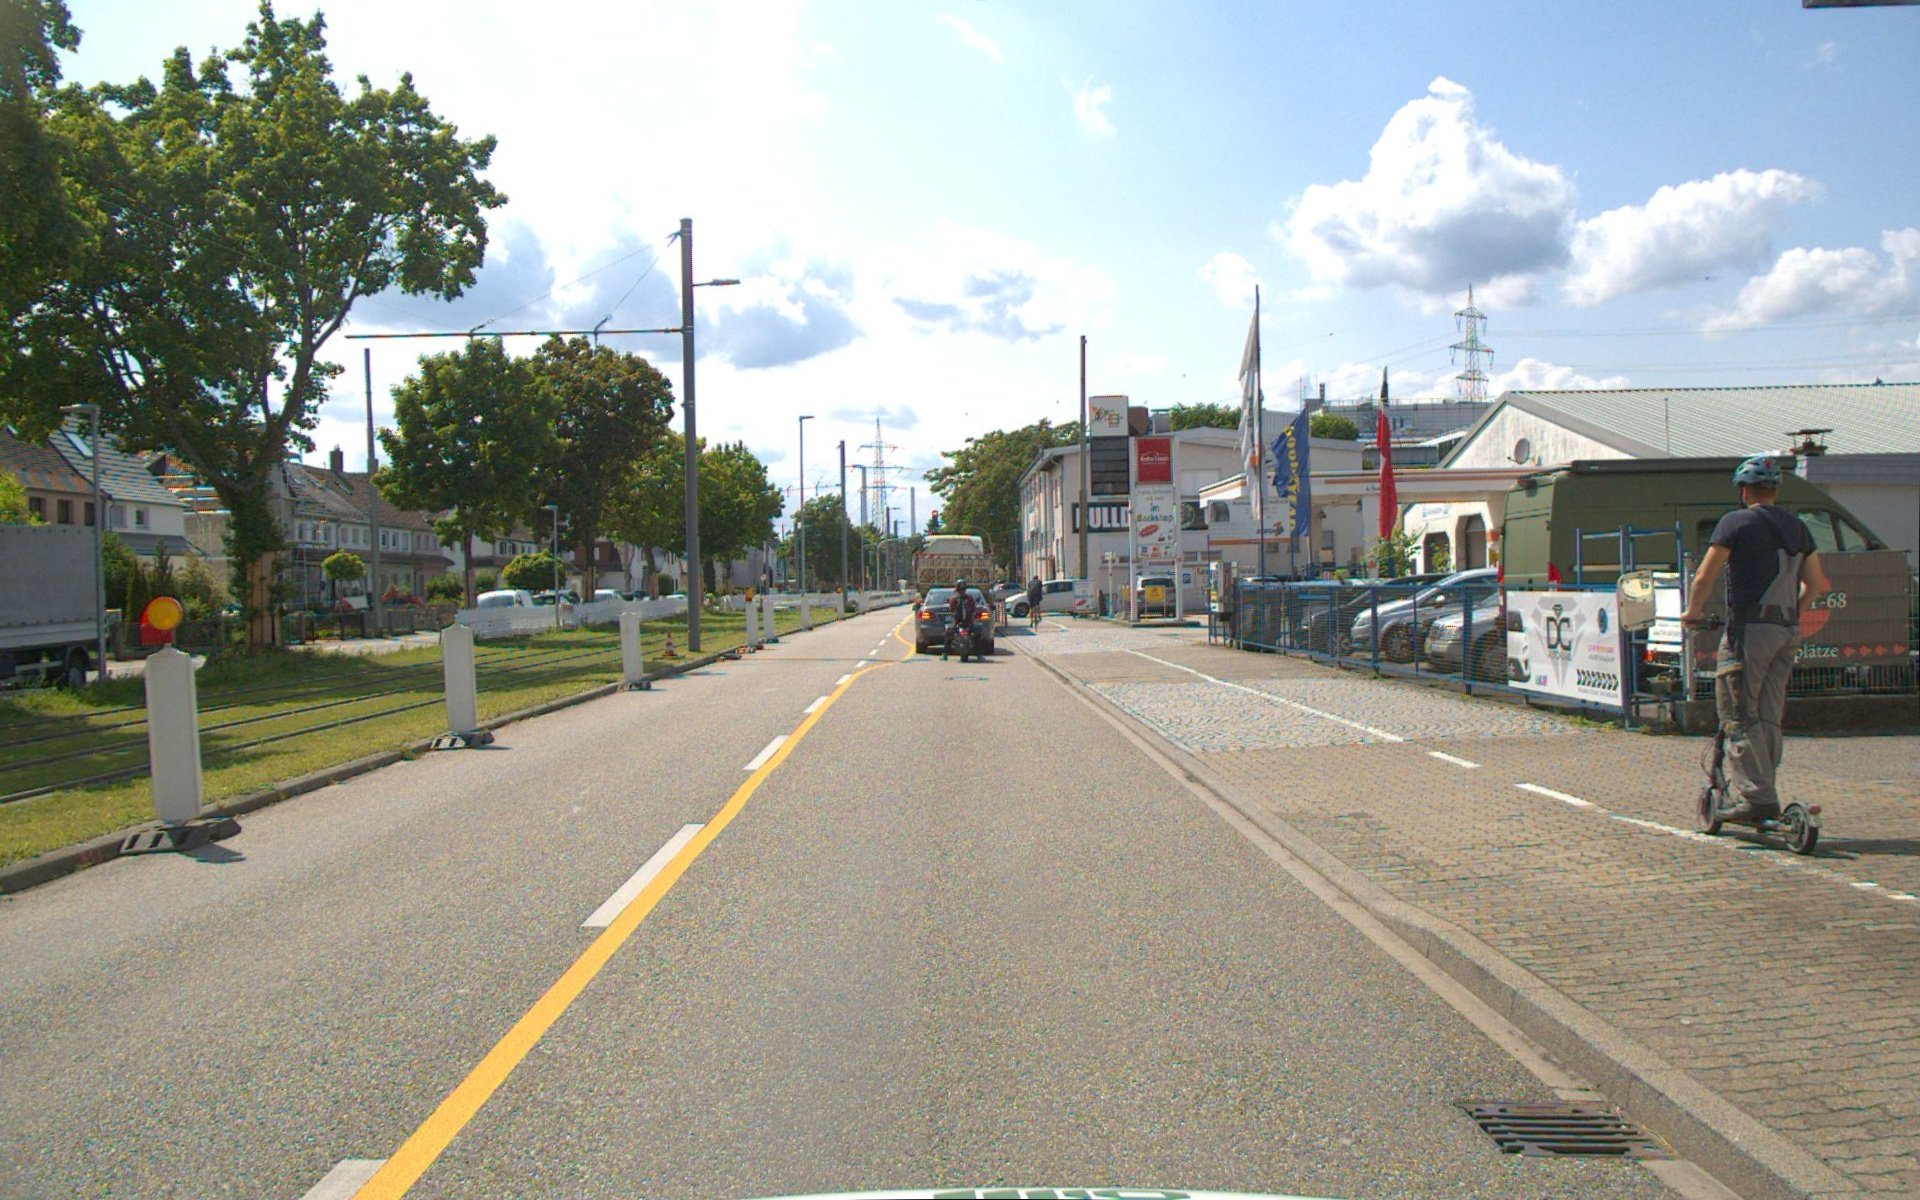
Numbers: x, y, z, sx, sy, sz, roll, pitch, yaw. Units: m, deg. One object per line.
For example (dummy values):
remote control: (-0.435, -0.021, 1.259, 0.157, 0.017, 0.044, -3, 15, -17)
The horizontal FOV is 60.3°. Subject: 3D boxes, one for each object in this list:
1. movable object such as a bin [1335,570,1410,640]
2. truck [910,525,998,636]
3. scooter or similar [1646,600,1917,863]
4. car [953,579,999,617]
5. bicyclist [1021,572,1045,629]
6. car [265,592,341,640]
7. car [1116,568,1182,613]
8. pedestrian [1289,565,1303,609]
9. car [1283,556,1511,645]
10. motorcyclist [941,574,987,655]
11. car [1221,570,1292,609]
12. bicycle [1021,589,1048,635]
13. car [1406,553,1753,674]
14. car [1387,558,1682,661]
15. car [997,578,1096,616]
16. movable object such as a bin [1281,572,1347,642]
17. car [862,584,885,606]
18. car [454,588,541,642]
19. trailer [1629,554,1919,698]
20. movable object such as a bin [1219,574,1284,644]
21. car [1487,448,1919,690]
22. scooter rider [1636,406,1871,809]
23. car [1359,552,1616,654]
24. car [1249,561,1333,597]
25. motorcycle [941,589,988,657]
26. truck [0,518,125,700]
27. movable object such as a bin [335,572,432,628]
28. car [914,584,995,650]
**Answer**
movable object such as a bin: (9.073, 0.107, 36.395, 1.295, 1.469, 0.953, -2, 0, -8)
truck: (-0.181, -0.730, 55.258, 2.557, 3.312, 9.183, -2, 2, 0)
scooter or similar: (4.226, 0.623, 8.642, 0.529, 1.215, 1.610, -3, 0, -1)
car: (0.639, -0.119, 68.132, 1.784, 1.489, 4.000, -1, 1, 0)
bicyclist: (2.300, 0.022, 52.260, 0.657, 1.774, 0.813, -1, 0, -1)
car: (-25.357, 0.611, 63.914, 1.650, 1.752, 3.030, -2, 0, -1)
car: (7.486, -0.357, 65.819, 1.920, 1.677, 3.998, -2, 0, -3)
pedestrian: (13.138, -0.502, 64.696, 0.388, 1.718, 0.485, -2, 0, 0)
car: (8.016, 0.008, 30.360, 3.903, 1.468, 1.712, -2, 0, 17)
motorcyclist: (0.082, 0.300, 34.274, 0.920, 1.643, 1.205, 0, 0, -1)
car: (11.899, -0.415, 66.595, 1.920, 1.445, 3.998, -2, 0, -3)
bicycle: (2.345, 0.369, 52.433, 0.679, 1.385, 2.418, -2, 1, -1)
car: (8.362, 0.182, 22.656, 4.095, 1.456, 1.822, -2, 0, 6)
car: (8.597, 0.145, 25.052, 3.902, 1.379, 1.822, -2, 0, 8)
car: (3.985, -0.128, 76.402, 4.250, 1.578, 1.946, -2, 0, -9)
movable object such as a bin: (7.774, 0.151, 36.351, 1.230, 1.469, 0.824, -2, 0, 0)
car: (-6.273, -0.359, 120.286, 1.622, 1.472, 4.301, -2, 1, -2)
car: (-16.464, 0.535, 59.079, 1.953, 1.780, 3.999, -2, 0, -1)
trailer: (8.800, 0.256, 17.679, 2.725, 1.356, 1.303, -3, 0, 0)
movable object such as a bin: (6.424, 0.195, 36.444, 1.230, 1.469, 0.824, -2, 0, 0)
car: (8.929, -0.356, 19.884, 4.443, 2.618, 2.151, -2, 0, 1)
scooter rider: (4.205, 0.043, 8.821, 0.702, 1.997, 0.785, -5, -1, 0)
car: (8.685, 0.054, 27.513, 3.902, 1.522, 1.752, -2, 0, 15)
car: (17.245, -1.077, 86.313, 3.906, 1.677, 1.965, -2, 0, -1)
motorcycle: (0.076, 0.455, 34.455, 0.920, 1.343, 2.644, 0, 0, -1)
truck: (-15.792, 0.205, 26.044, 1.953, 2.815, 6.275, -5, 1, -1)
movable object such as a bin: (-27.628, -0.001, 79.247, 4.277, 2.492, 1.776, -2, 1, -23)
car: (-0.137, 0.361, 38.927, 1.784, 1.449, 4.000, -1, 1, -1)
